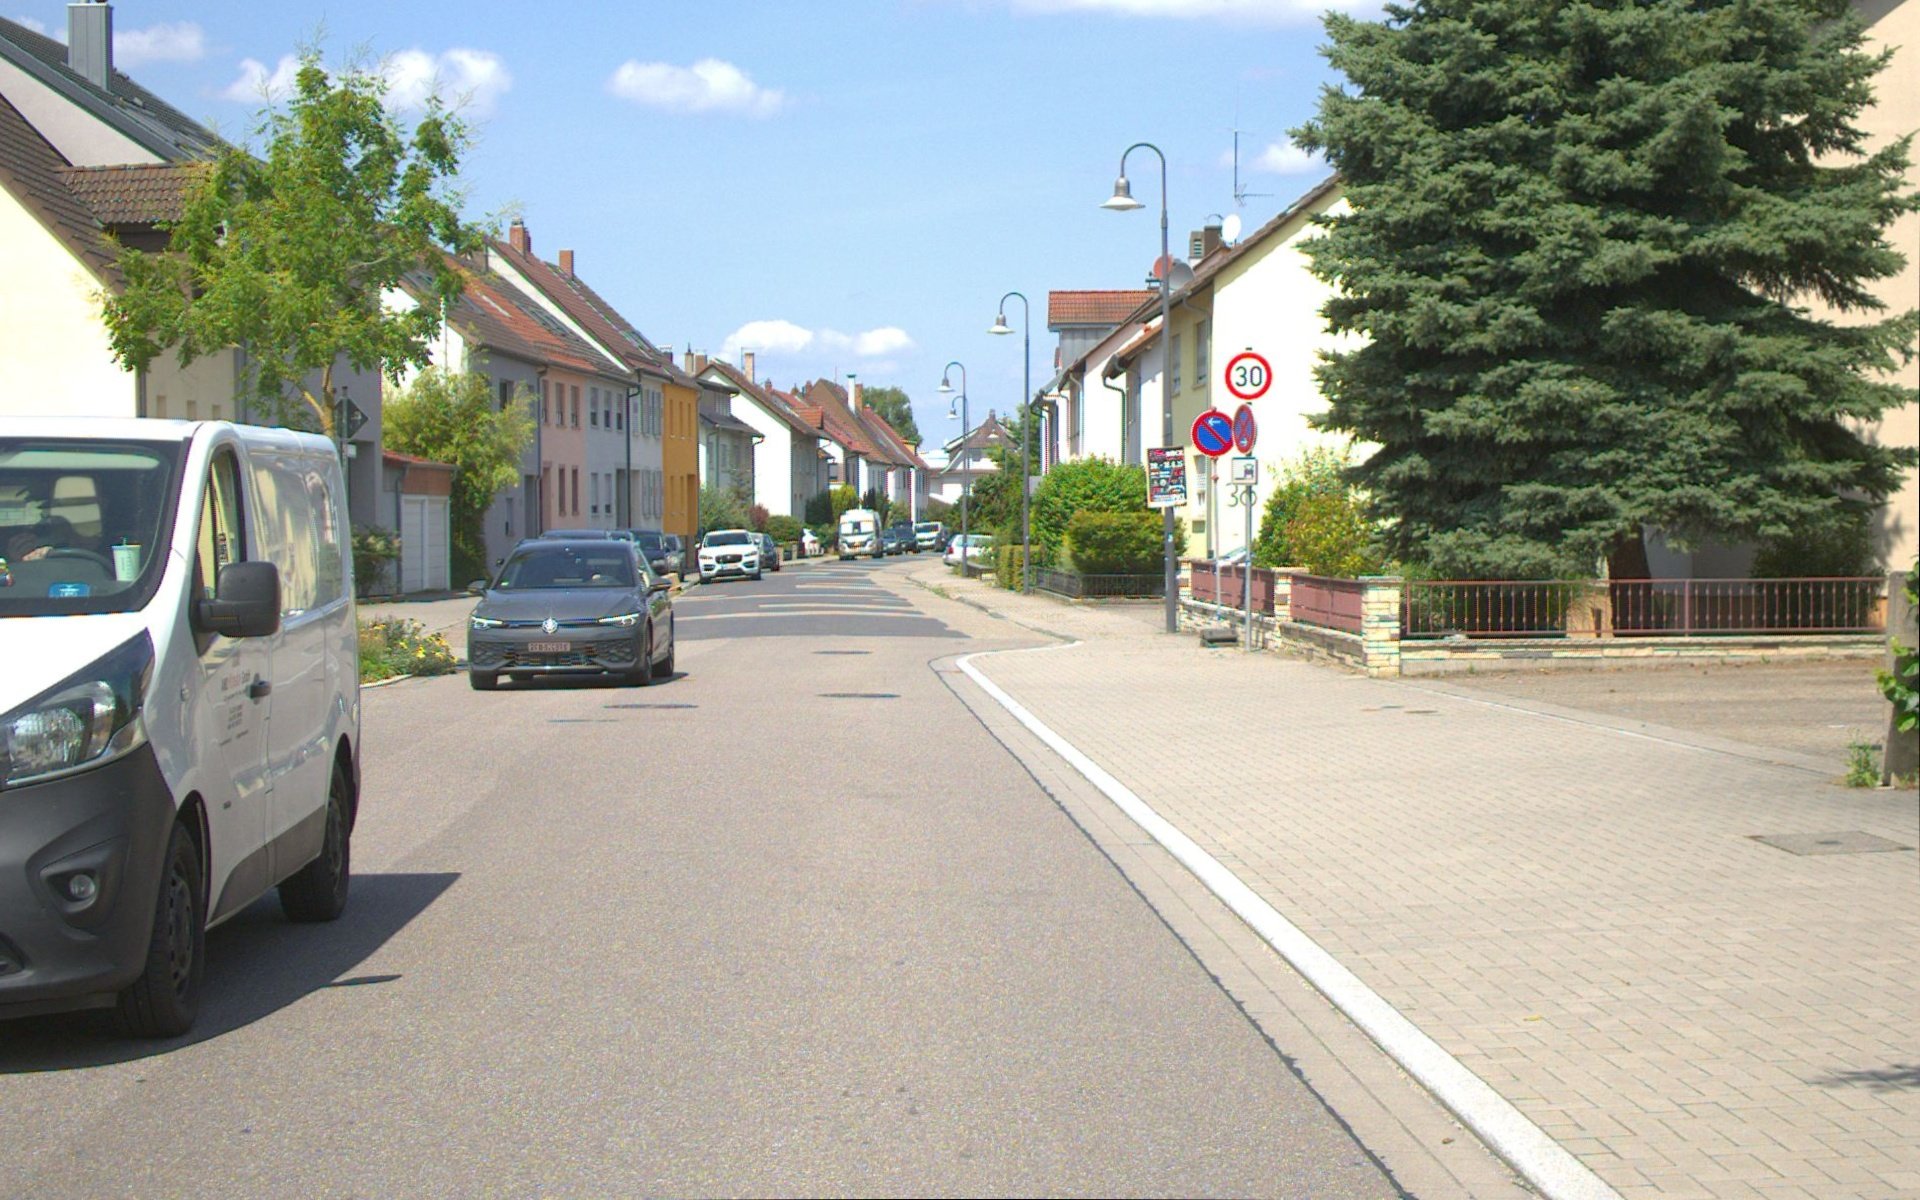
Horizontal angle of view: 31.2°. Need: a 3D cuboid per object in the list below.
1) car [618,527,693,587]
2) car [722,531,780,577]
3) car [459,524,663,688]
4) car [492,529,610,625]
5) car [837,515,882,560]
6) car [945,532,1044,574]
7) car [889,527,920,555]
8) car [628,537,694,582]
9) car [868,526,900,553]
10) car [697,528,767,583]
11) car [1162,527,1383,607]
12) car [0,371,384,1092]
[{"bbox_3d":[-8.493,-1.209,96.174,1.810,1.603,4.000,2,1,-1],"label":"car"},{"bbox_3d":[-7.895,-1.740,130.369,1.850,1.653,4.000,2,1,1],"label":"car"},{"bbox_3d":[-4.012,0.018,35.141,1.762,1.517,4.049,-2,1,-3],"label":"car"},{"bbox_3d":[-7.146,-0.430,60.436,1.816,1.428,4.140,3,2,-5],"label":"car"},{"bbox_3d":[-5.223,-3.247,179.428,2.045,2.304,3.771,1,0,2],"label":"car"},{"bbox_3d":[1.239,-1.708,125.418,3.523,1.459,1.628,1,0,-1],"label":"car"},{"bbox_3d":[-3.368,-3.580,208.861,1.691,1.654,3.771,1,0,2],"label":"car"},{"bbox_3d":[-9.398,-1.293,108.330,1.672,1.331,3.722,2,1,1],"label":"car"},{"bbox_3d":[-4.441,-3.536,201.359,1.691,1.498,3.771,1,0,2],"label":"car"},{"bbox_3d":[-7.226,-1.422,109.362,1.850,1.653,4.000,2,1,1],"label":"car"},{"bbox_3d":[5.911,-0.637,65.346,3.986,1.468,1.746,-1,1,-1],"label":"car"},{"bbox_3d":[-3.275,0.342,11.698,2.022,1.943,4.899,-1,1,-3],"label":"car"}]
